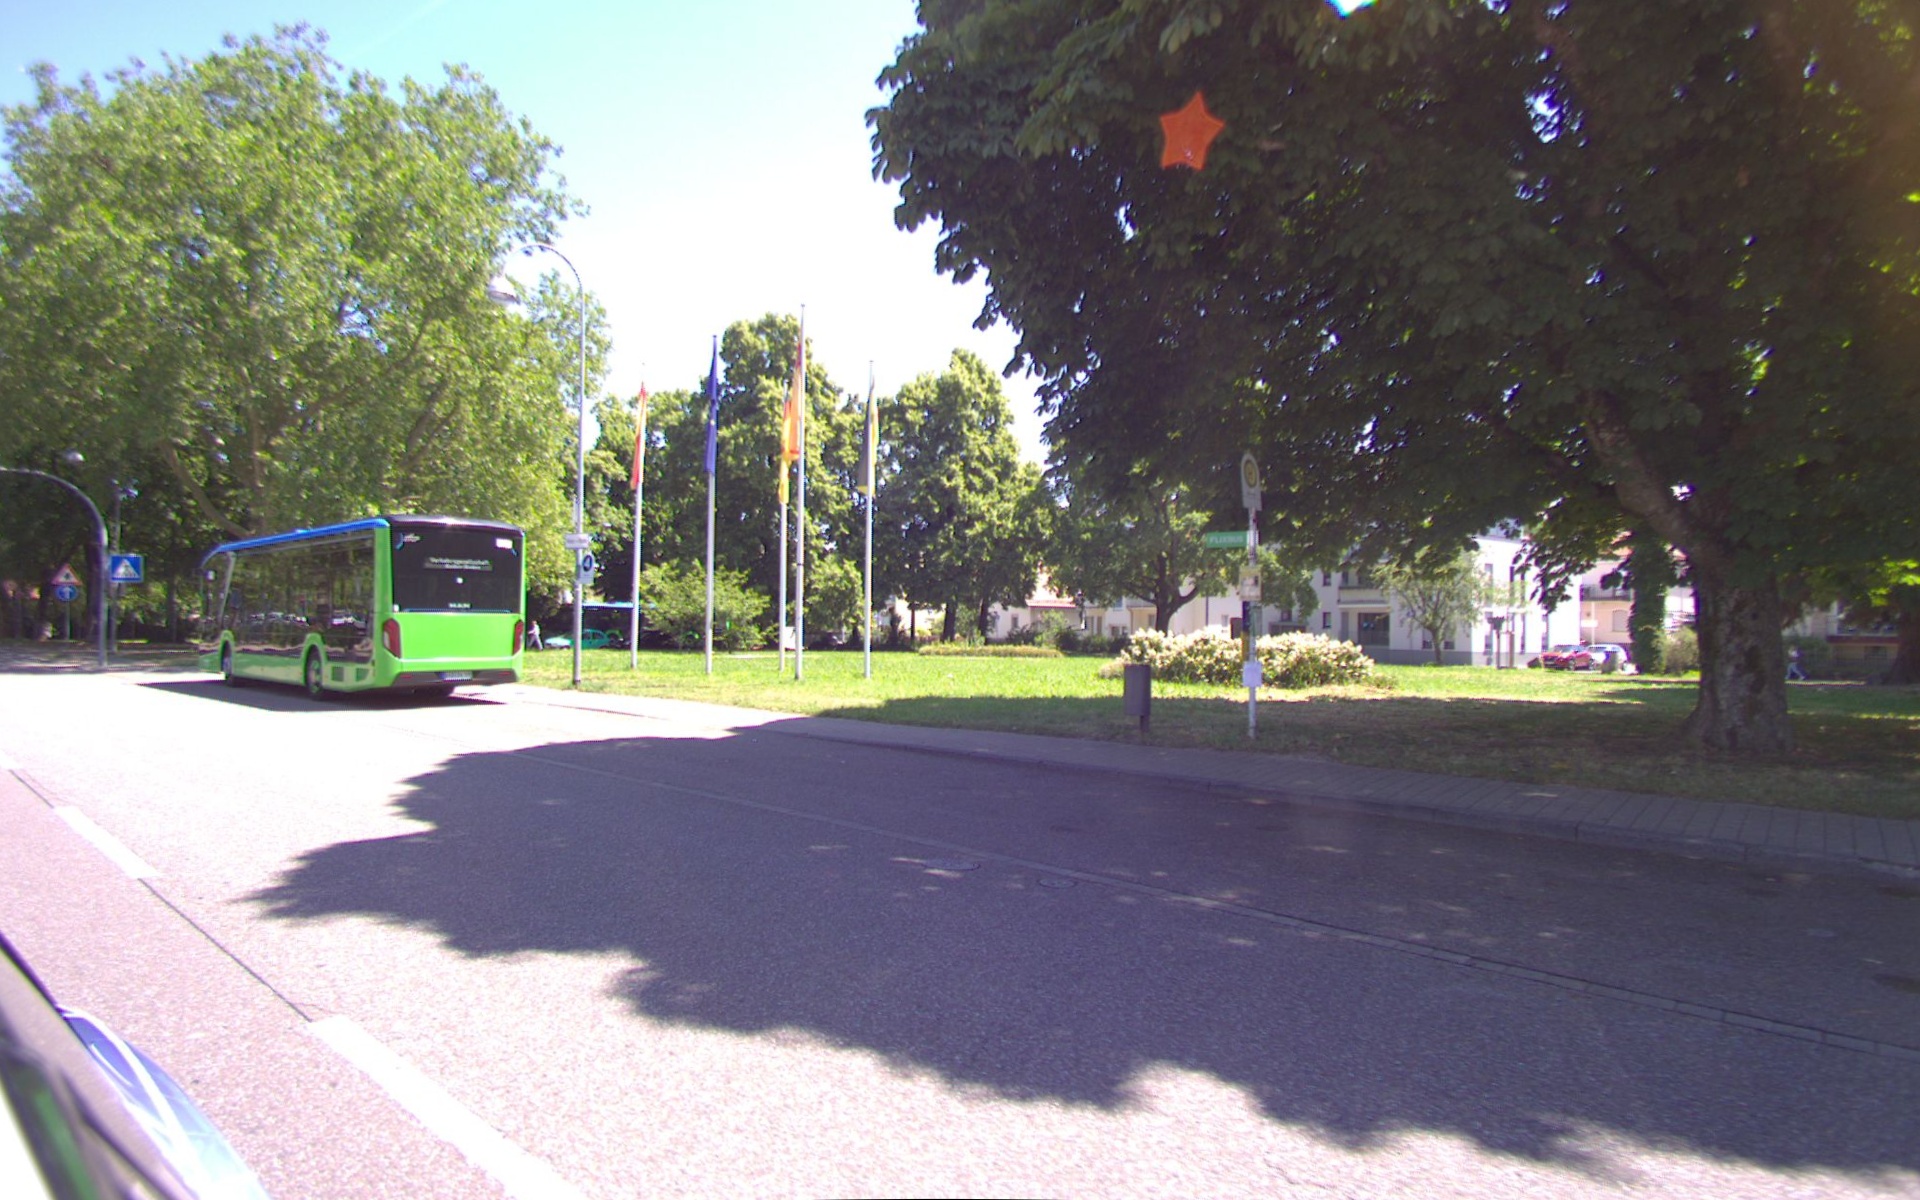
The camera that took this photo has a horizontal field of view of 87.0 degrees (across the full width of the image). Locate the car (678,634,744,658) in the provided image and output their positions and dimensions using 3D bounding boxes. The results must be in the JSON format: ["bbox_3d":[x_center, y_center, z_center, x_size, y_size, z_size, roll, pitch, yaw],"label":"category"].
[{"bbox_3d":[-16.245,3.010,66.152,1.759,1.504,3.864,-1,-3,40],"label":"car"}]

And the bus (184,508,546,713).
[{"bbox_3d":[-13.158,0.315,21.480,12.418,3.308,2.779,-1,-3,41],"label":"bus"}]

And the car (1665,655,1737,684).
[{"bbox_3d":[37.408,3.464,51.073,3.978,1.359,1.642,2,-2,-33],"label":"car"}]

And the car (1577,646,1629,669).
[{"bbox_3d":[39.199,3.499,61.684,3.314,1.359,1.431,2,-2,-34],"label":"car"}]

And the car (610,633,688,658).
[{"bbox_3d":[-19.220,2.801,62.719,1.759,1.504,4.316,-1,-3,40],"label":"car"}]

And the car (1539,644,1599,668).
[{"bbox_3d":[35.524,3.242,58.994,3.980,1.359,1.642,2,-2,-37],"label":"car"}]

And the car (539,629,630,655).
[{"bbox_3d":[-21.946,2.442,59.282,1.755,1.450,4.704,-1,-3,41],"label":"car"}]

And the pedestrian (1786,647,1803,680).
[{"bbox_3d":[37.985,2.874,46.052,0.383,1.502,0.486,2,-2,-33],"label":"pedestrian"}]

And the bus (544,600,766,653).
[{"bbox_3d":[-20.662,1.967,70.399,2.876,3.320,15.732,-1,-3,41],"label":"bus"}]
